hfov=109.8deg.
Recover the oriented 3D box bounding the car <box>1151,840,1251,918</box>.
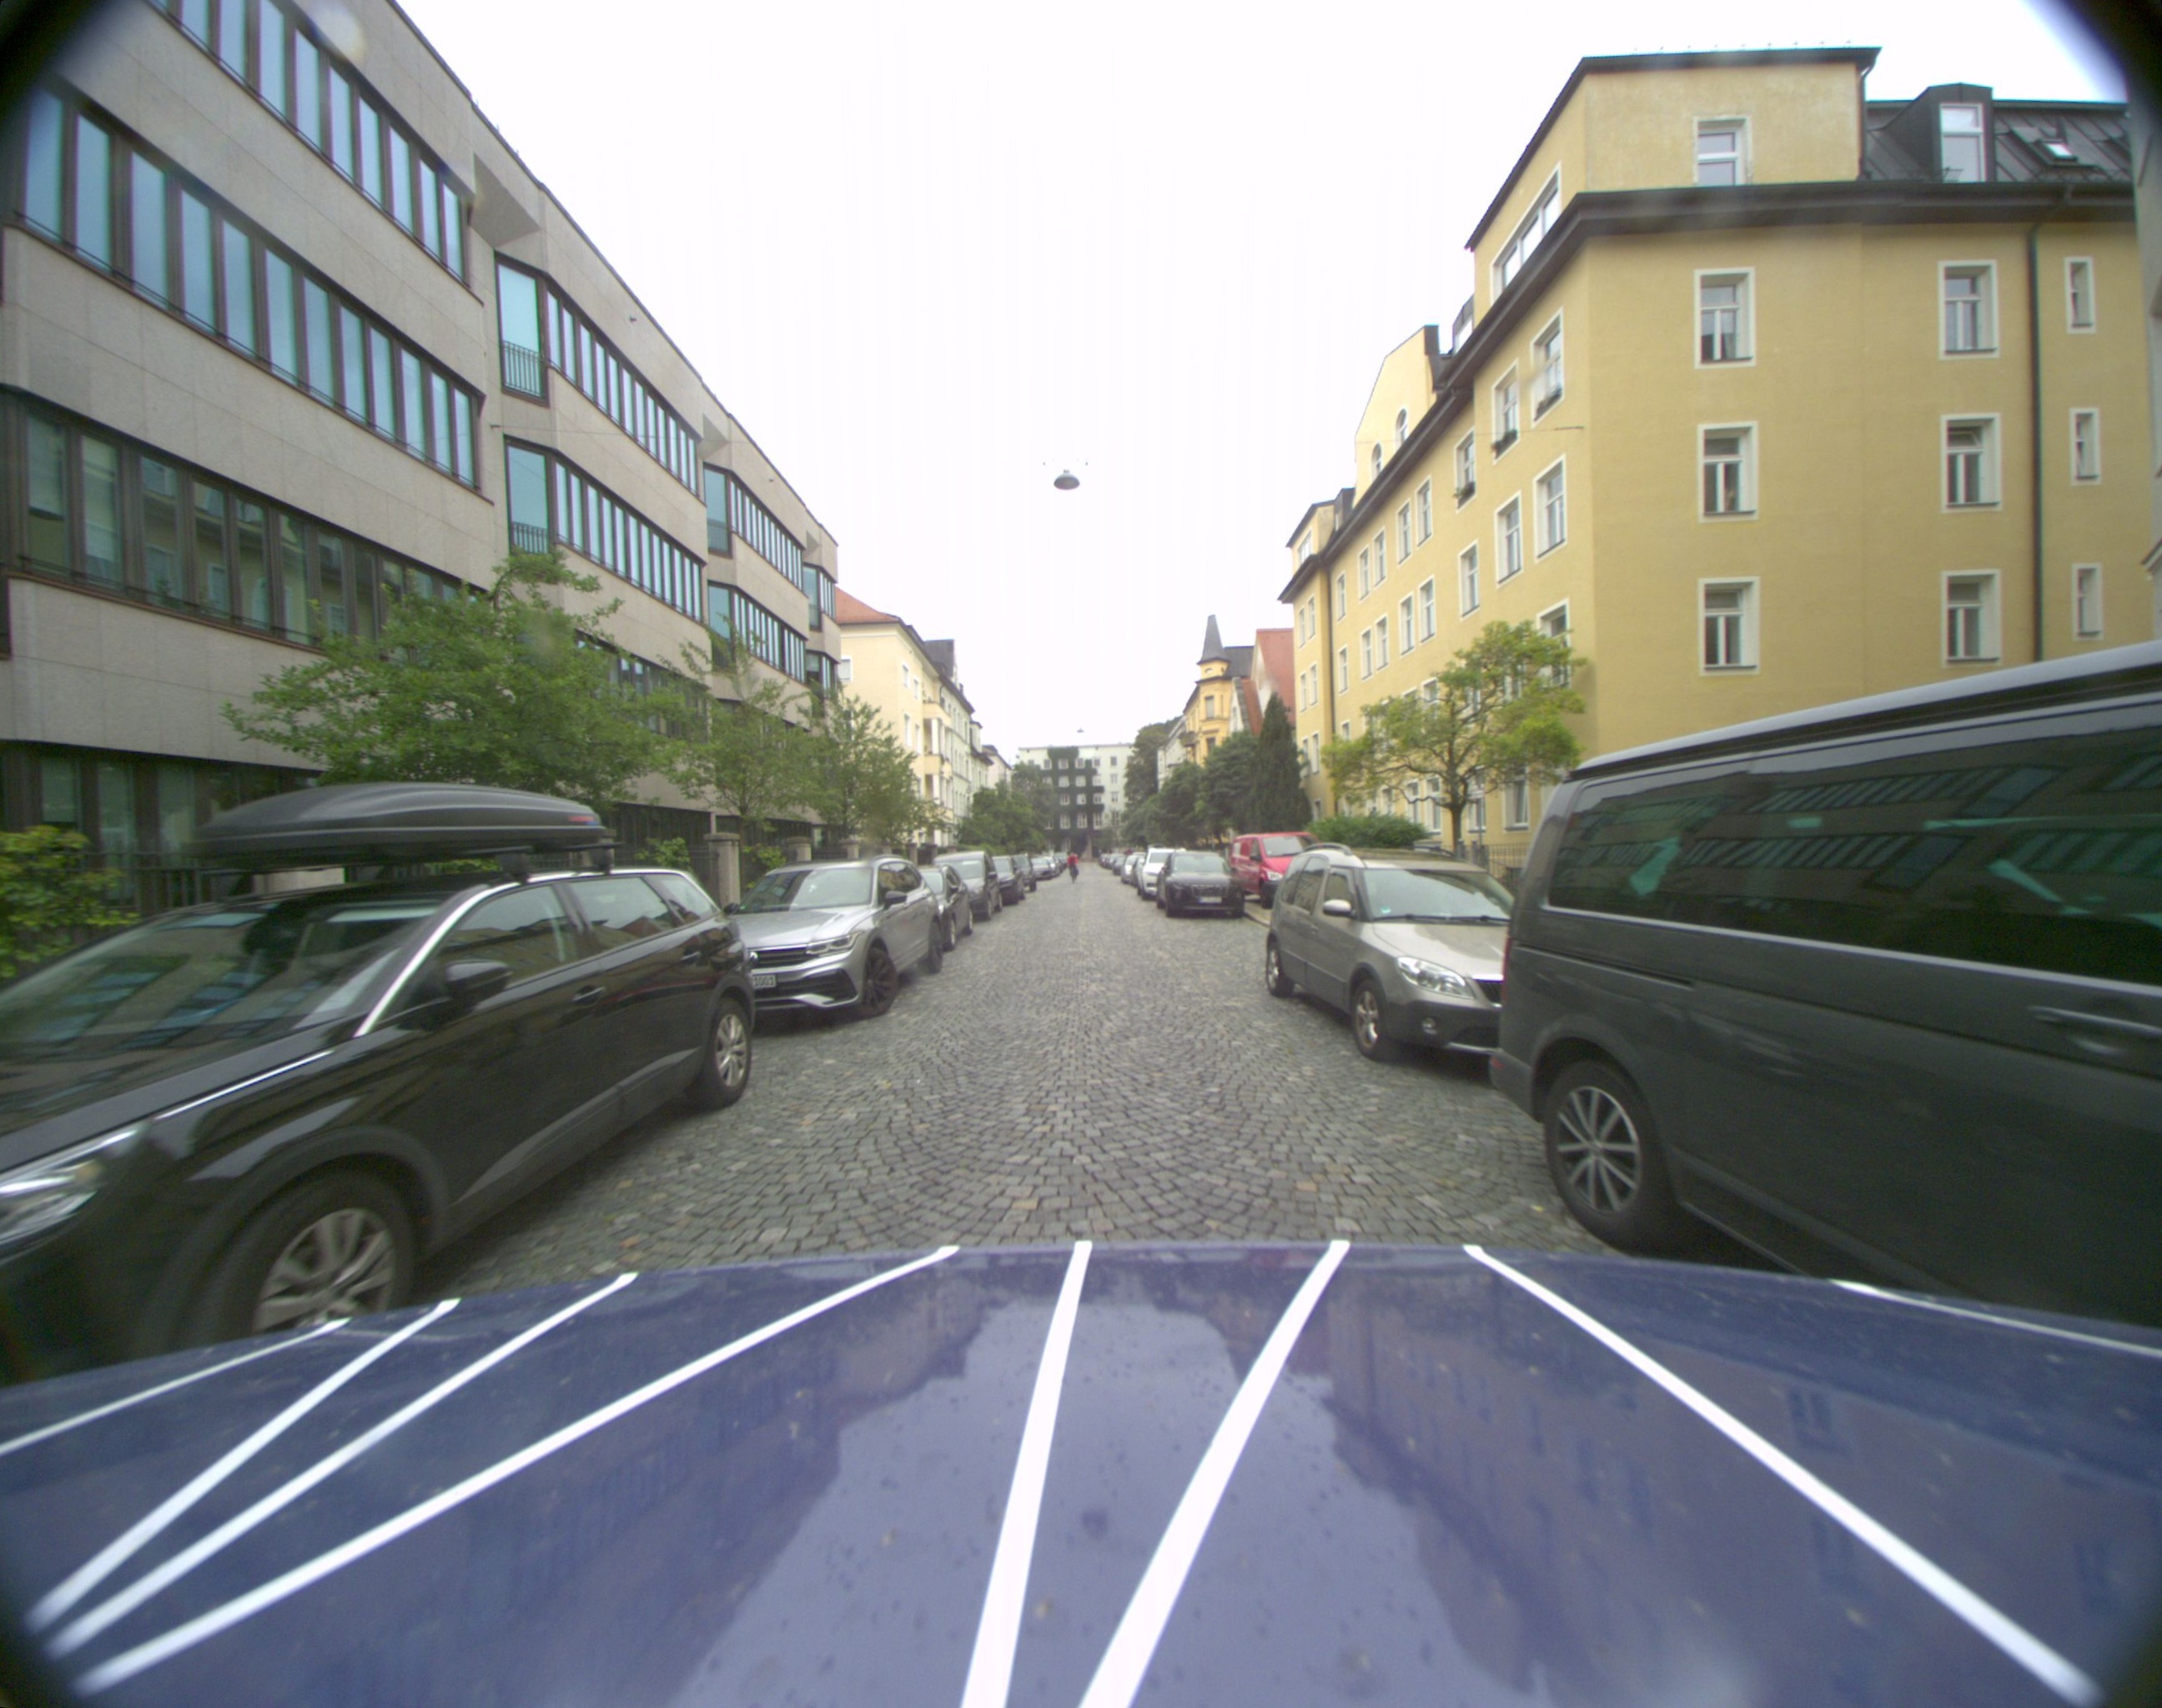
[{"bbox_3d":[2.988,0.550,19.913,1.922,1.725,4.755,2,1,1],"label":"car"}]

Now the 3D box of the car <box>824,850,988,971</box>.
[{"bbox_3d":[-3.080,0.890,14.451,1.878,1.725,4.658,-6,1,0],"label":"car"}]

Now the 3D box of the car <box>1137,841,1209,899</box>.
[{"bbox_3d":[3.082,0.480,26.477,2.011,1.798,5.174,0,1,1],"label":"car"}]

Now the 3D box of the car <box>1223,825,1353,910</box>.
[{"bbox_3d":[5.483,0.303,20.940,1.999,1.920,5.329,-4,1,0],"label":"car"}]

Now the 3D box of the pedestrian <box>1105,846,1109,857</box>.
[{"bbox_3d":[4.773,-0.487,139.572,0.701,1.905,0.862,-4,2,3],"label":"pedestrian"}]

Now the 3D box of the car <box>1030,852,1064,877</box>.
[{"bbox_3d":[-2.447,0.732,55.603,1.998,1.543,4.986,-4,1,1],"label":"car"}]

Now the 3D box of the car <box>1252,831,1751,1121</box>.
[{"bbox_3d":[3.015,0.724,6.744,1.870,1.725,4.402,0,0,-2],"label":"car"}]

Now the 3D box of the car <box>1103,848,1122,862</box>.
[{"bbox_3d":[3.511,0.107,85.689,1.846,1.577,4.191,-1,1,-1],"label":"car"}]

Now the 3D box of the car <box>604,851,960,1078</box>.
[{"bbox_3d":[-2.870,0.916,8.733,1.877,1.725,4.891,-4,1,2],"label":"car"}]

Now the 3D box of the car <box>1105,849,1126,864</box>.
[{"bbox_3d":[3.621,0.202,79.941,1.875,1.462,5.132,-1,1,-1],"label":"car"}]

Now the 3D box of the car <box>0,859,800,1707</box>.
[{"bbox_3d":[-3.118,1.001,3.437,1.878,1.725,4.746,-5,1,-2],"label":"car"}]

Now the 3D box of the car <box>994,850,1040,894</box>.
[{"bbox_3d":[-2.810,0.754,34.239,1.623,1.741,3.886,-5,1,-1],"label":"car"}]

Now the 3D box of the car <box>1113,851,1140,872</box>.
[{"bbox_3d":[3.306,0.501,55.576,1.819,1.447,4.912,0,1,1],"label":"car"}]

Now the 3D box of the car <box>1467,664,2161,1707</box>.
[{"bbox_3d":[2.860,0.617,1.341,1.878,1.906,4.826,0,1,0],"label":"car"}]

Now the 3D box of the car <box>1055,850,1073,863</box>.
[{"bbox_3d":[-2.104,0.277,97.131,1.942,1.457,4.532,-4,1,3],"label":"car"}]

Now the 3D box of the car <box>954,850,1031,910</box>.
[{"bbox_3d":[-2.874,0.788,25.719,1.865,1.692,4.812,-5,1,1],"label":"car"}]

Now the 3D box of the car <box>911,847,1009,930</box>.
[{"bbox_3d":[-3.081,0.805,20.280,1.793,1.786,4.508,-6,1,-1],"label":"car"}]

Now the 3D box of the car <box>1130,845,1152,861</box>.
[{"bbox_3d":[6.088,-0.138,77.502,1.846,1.457,4.389,-3,1,1],"label":"car"}]

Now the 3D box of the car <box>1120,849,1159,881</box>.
[{"bbox_3d":[3.023,0.529,39.849,1.718,1.553,4.390,0,1,0],"label":"car"}]

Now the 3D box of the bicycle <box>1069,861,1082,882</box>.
[{"bbox_3d":[-0.293,0.956,41.590,0.636,1.021,1.955,-3,1,0],"label":"bicycle"}]

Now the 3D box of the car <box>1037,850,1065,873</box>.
[{"bbox_3d":[-2.358,0.574,60.530,1.898,1.644,4.293,-3,1,0],"label":"car"}]

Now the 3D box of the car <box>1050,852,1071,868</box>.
[{"bbox_3d":[-2.186,0.596,81.845,1.909,1.494,5.105,-5,1,1],"label":"car"}]

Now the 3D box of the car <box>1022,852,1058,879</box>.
[{"bbox_3d":[-2.665,0.714,50.367,1.998,1.543,5.014,-4,1,1],"label":"car"}]

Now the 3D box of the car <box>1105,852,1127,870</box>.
[{"bbox_3d":[3.334,0.648,73.383,1.744,1.577,4.190,-1,1,-2],"label":"car"}]

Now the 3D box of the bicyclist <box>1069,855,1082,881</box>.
[{"bbox_3d":[-0.315,0.751,41.603,0.648,1.350,0.656,-3,1,0],"label":"bicyclist"}]

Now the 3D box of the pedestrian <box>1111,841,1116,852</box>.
[{"bbox_3d":[5.932,-1.321,139.660,0.665,1.905,0.863,-4,2,9],"label":"pedestrian"}]

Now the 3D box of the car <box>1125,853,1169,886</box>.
[{"bbox_3d":[3.008,0.665,35.268,1.734,1.410,3.936,0,1,1],"label":"car"}]
